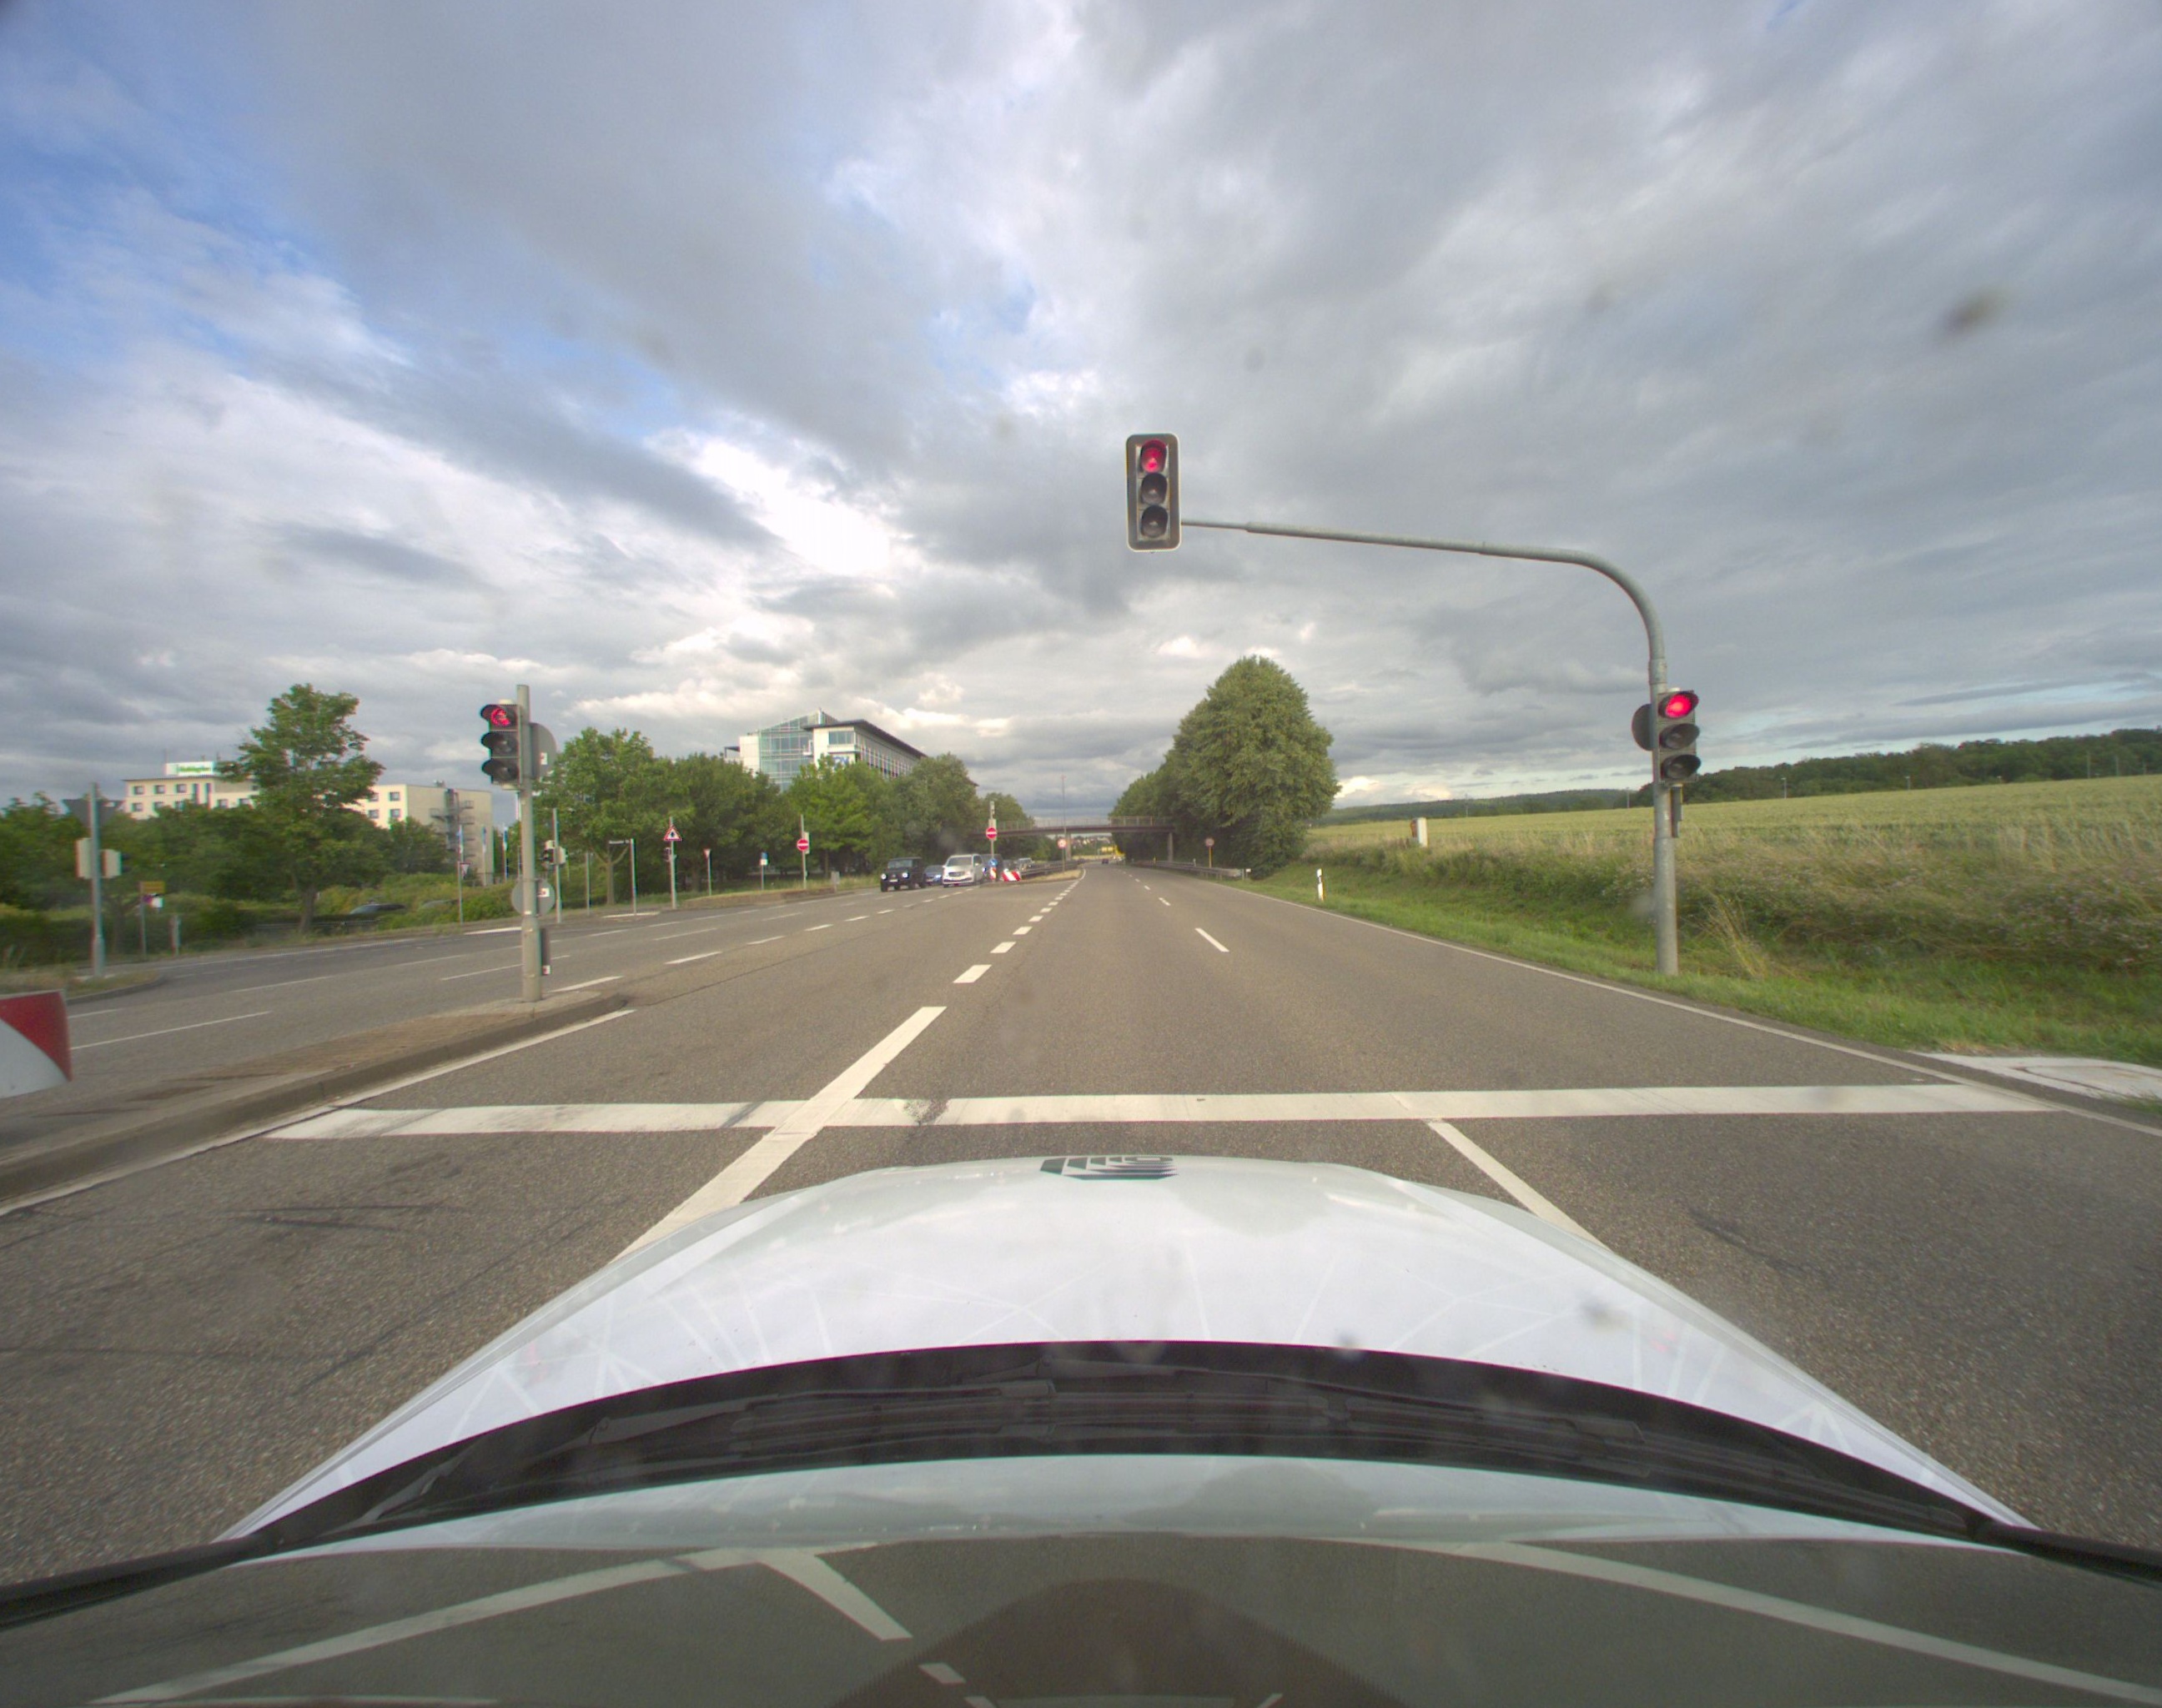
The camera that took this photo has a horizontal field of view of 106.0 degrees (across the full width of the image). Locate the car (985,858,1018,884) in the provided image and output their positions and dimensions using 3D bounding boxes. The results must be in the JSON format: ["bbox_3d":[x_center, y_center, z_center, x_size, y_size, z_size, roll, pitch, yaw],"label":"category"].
[{"bbox_3d":[-6.266,1.313,64.971,2.076,2.014,5.216,0,-1,1],"label":"car"}]

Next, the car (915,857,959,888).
[{"bbox_3d":[-10.023,1.257,57.144,2.076,2.014,5.216,0,-1,1],"label":"car"}]

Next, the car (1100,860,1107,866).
[{"bbox_3d":[6.323,2.597,228.402,1.875,1.552,3.997,0,-1,-2],"label":"car"}]

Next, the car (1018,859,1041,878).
[{"bbox_3d":[-5.496,1.517,88.093,2.076,2.014,5.216,0,-1,1],"label":"car"}]

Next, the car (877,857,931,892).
[{"bbox_3d":[-10.719,1.193,49.655,2.076,2.014,5.216,0,-1,1],"label":"car"}]

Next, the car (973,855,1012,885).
[{"bbox_3d":[-6.182,1.078,57.400,2.076,2.014,5.216,0,-1,1],"label":"car"}]

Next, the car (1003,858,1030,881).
[{"bbox_3d":[-5.998,1.410,75.951,2.076,2.014,5.216,0,-1,1],"label":"car"}]

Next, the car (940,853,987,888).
[{"bbox_3d":[-7.099,0.970,49.681,2.076,2.014,5.216,0,-1,1],"label":"car"}]
